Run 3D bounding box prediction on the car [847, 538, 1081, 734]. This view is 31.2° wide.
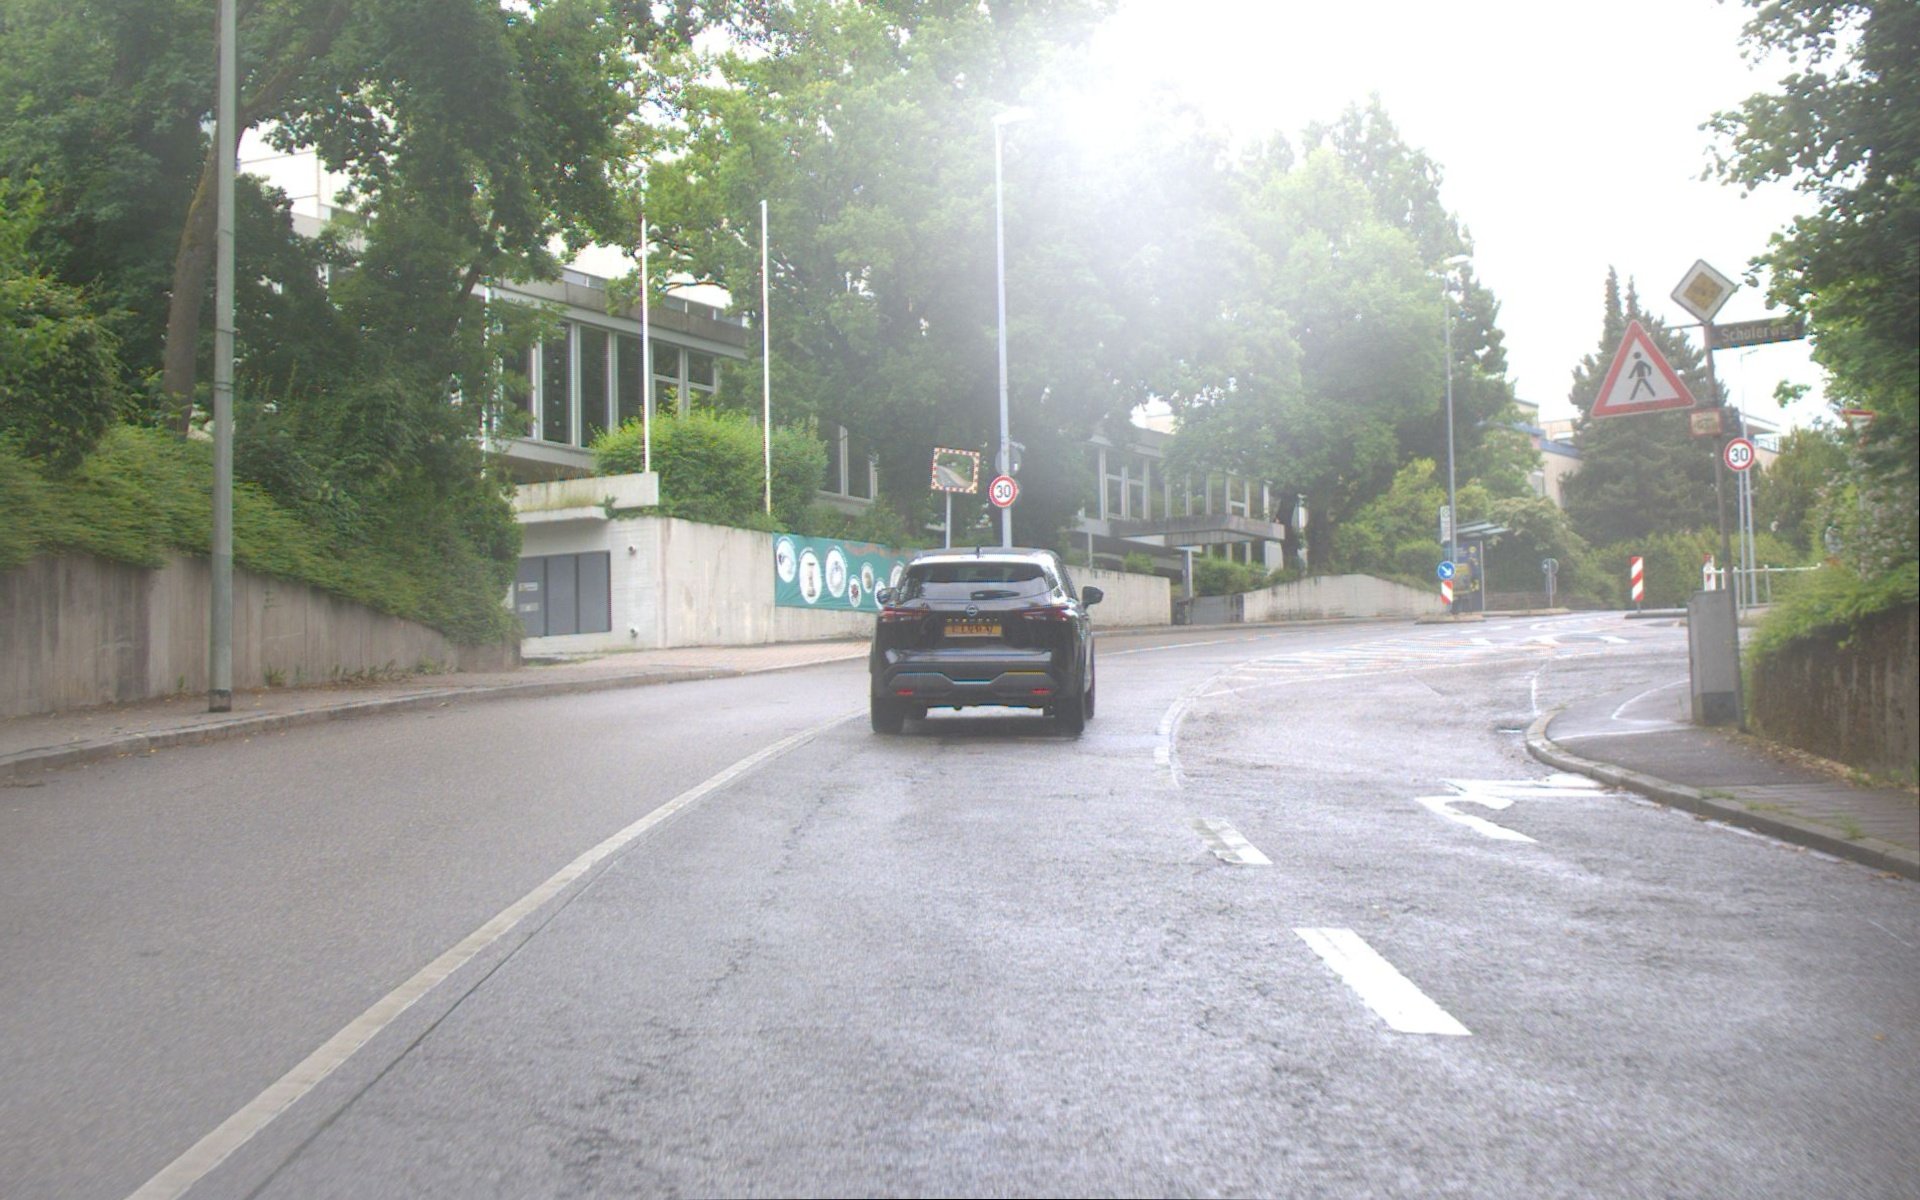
[{"bbox_3d":[0.005,0.267,30.642,1.928,1.607,4.000,-1,1,-1],"label":"car"}]
